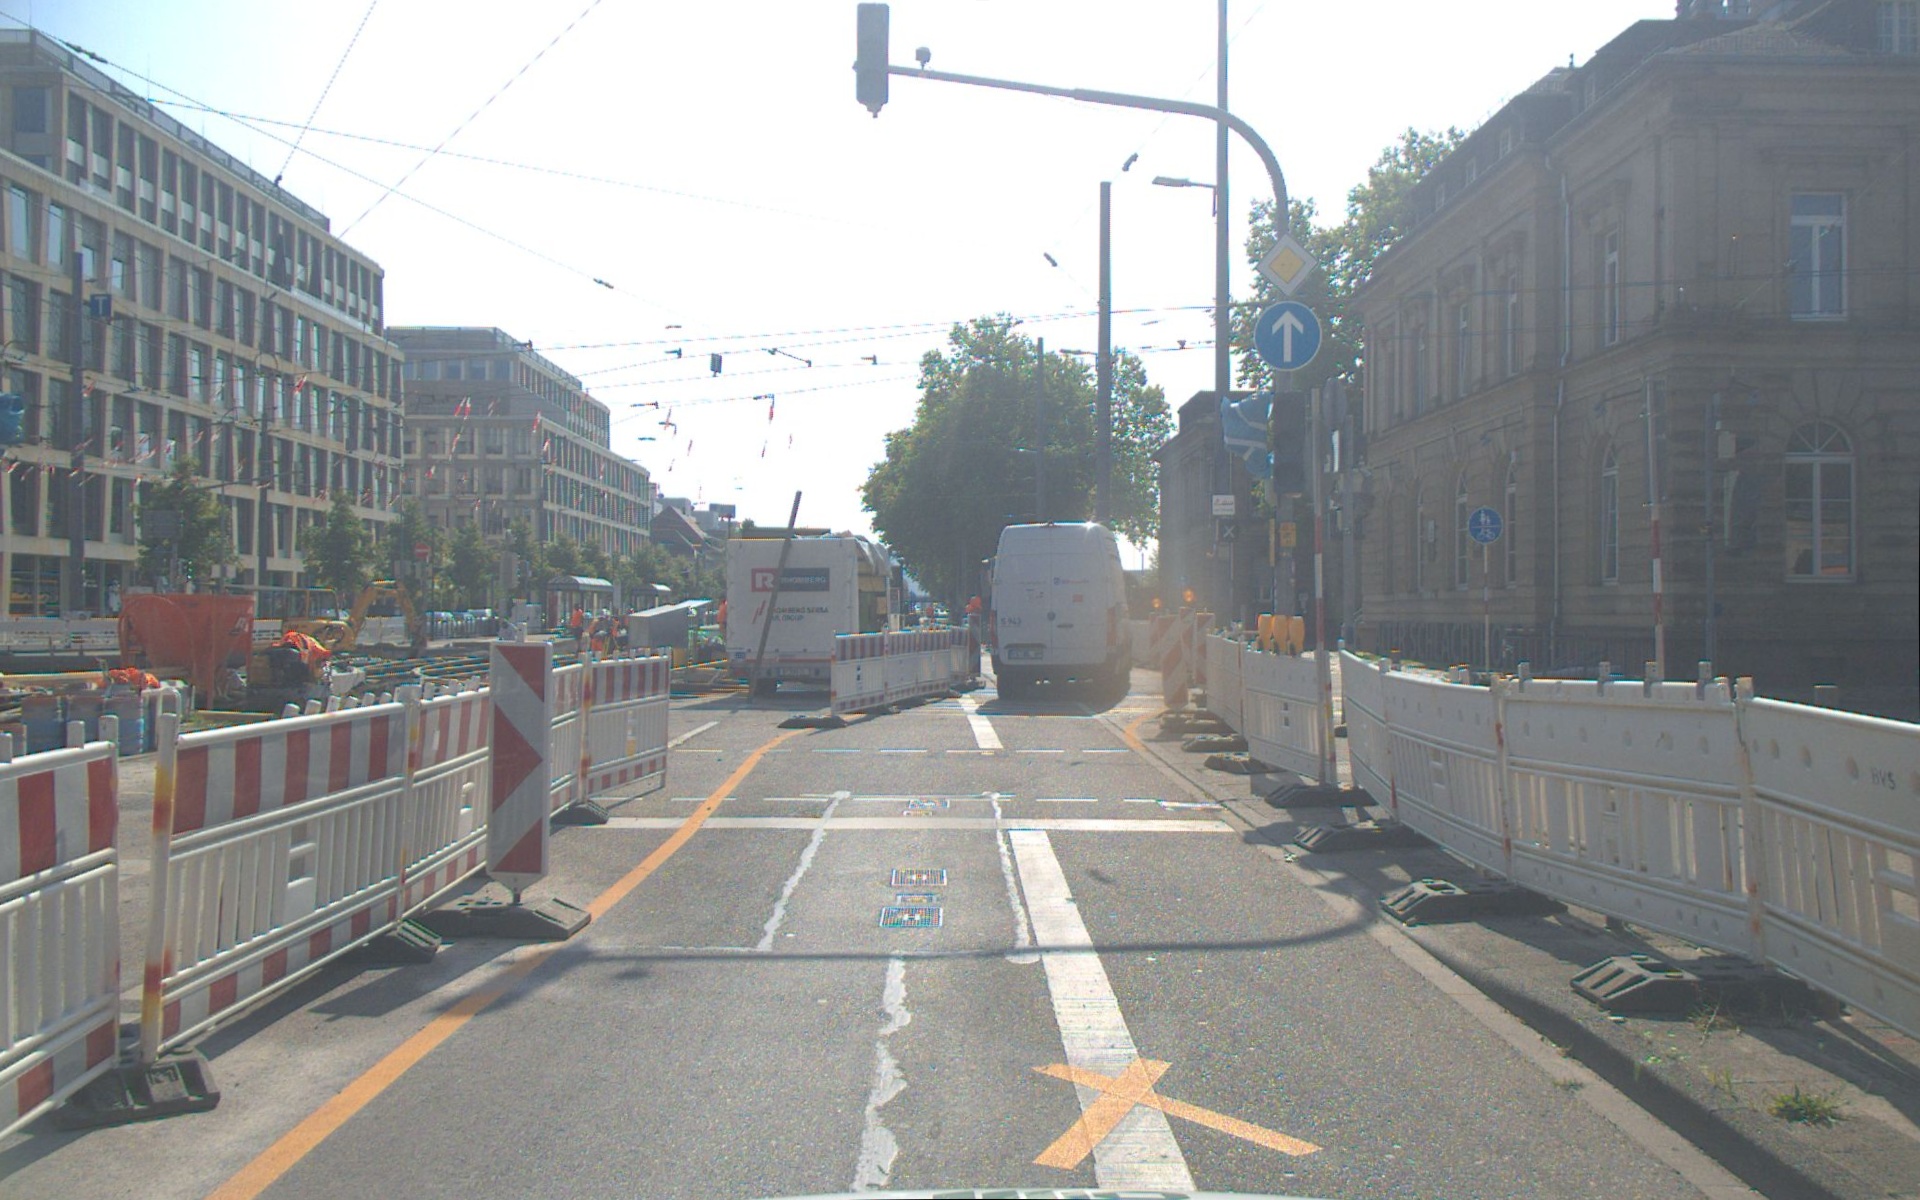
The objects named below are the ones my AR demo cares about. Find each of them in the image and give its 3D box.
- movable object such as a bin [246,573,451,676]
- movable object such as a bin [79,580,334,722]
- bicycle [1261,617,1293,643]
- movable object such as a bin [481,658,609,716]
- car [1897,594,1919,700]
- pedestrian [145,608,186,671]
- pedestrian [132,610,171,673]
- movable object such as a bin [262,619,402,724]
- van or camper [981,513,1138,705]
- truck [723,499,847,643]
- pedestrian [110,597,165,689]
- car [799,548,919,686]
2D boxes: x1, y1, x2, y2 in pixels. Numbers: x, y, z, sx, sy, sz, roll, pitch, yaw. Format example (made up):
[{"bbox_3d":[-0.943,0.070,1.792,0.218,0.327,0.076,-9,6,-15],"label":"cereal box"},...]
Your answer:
[{"bbox_3d":[-19.618,0.833,53.804,3.540,3.010,8.474,1,-2,-1],"label":"movable object such as a bin"},{"bbox_3d":[-9.083,0.588,20.210,1.567,1.586,3.286,0,-1,1],"label":"movable object such as a bin"},{"bbox_3d":[13.409,1.256,69.979,0.484,1.017,1.808,0,2,-19],"label":"bicycle"},{"bbox_3d":[-5.573,1.159,22.189,1.687,0.726,0.716,-1,-1,33],"label":"movable object such as a bin"},{"bbox_3d":[16.019,0.641,23.920,3.914,1.563,1.666,-1,-1,5],"label":"car"},{"bbox_3d":[-23.962,1.183,49.877,0.906,1.897,0.808,1,-1,-11],"label":"pedestrian"},{"bbox_3d":[-24.911,1.275,50.967,0.741,1.897,0.807,0,-1,36],"label":"pedestrian"},{"bbox_3d":[-7.779,0.852,20.607,0.868,1.233,2.212,0,-1,1],"label":"movable object such as a bin"},{"bbox_3d":[1.727,0.123,26.799,2.070,2.729,5.254,-2,0,8],"label":"van or camper"},{"bbox_3d":[-5.518,-0.823,50.854,2.744,3.981,8.391,2,0,-13],"label":"truck"},{"bbox_3d":[-17.560,0.911,35.331,0.769,1.946,0.723,0,-1,8],"label":"pedestrian"},{"bbox_3d":[-2.029,0.359,33.495,2.163,2.467,7.194,0,-1,-3],"label":"car"}]
